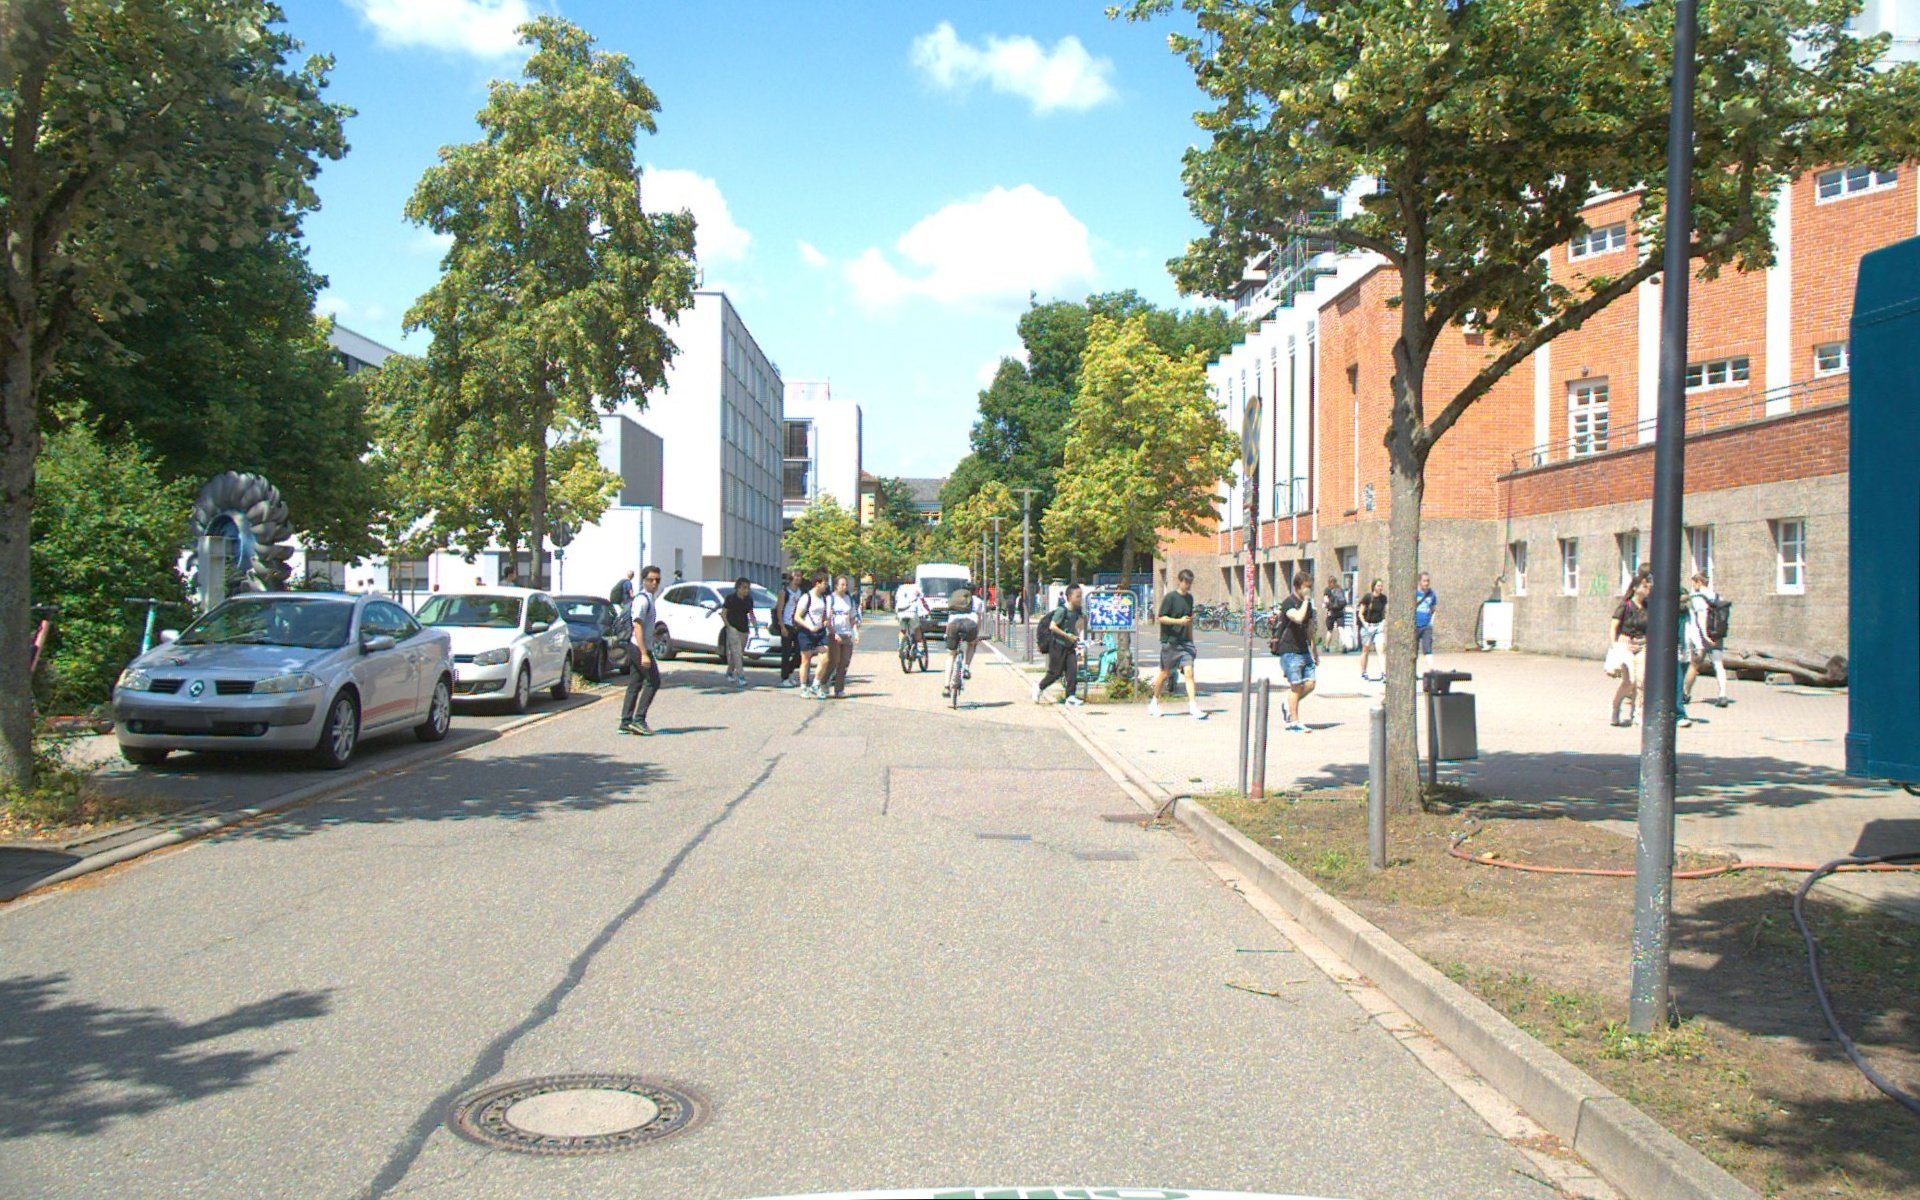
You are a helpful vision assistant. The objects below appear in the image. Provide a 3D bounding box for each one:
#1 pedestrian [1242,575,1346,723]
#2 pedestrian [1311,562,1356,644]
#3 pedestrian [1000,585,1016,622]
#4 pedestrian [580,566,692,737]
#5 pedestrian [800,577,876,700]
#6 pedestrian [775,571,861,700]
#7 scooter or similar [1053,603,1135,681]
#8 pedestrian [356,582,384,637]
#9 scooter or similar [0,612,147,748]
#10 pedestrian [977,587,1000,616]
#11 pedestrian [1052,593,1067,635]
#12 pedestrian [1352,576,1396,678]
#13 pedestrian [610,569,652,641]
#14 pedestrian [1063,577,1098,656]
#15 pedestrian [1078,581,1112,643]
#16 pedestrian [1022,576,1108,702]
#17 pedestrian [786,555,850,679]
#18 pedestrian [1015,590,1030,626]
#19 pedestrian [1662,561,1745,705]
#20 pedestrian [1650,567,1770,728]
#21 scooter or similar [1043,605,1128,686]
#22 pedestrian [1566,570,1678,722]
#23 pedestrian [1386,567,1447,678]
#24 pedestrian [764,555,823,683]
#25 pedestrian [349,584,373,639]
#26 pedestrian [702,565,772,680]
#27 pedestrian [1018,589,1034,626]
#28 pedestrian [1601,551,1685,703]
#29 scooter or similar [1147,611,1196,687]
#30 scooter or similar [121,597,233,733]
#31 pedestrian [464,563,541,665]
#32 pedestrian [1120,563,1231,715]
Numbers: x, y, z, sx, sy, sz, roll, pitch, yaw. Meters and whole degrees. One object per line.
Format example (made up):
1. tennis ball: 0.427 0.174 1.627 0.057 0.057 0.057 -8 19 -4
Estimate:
1. pedestrian: 3.813 0.543 18.884 0.844 1.623 0.817 -2 1 -44
2. pedestrian: 8.796 0.065 38.967 0.774 1.892 1.116 0 0 -2
3. pedestrian: 2.484 0.185 85.346 0.774 1.892 1.243 0 0 0
4. pedestrian: -3.418 0.539 17.526 1.084 1.746 0.709 2 0 -8
5. pedestrian: -1.802 0.548 24.376 0.891 1.769 0.675 0 0 37
6. pedestrian: -2.038 0.493 23.737 0.964 1.769 0.698 3 2 37
7. scooter or similar: 2.272 0.697 28.079 1.237 1.287 0.649 0 0 31
8. pedestrian: -19.555 0.316 54.857 0.679 1.780 0.636 1 0 -1
9. scooter or similar: -8.156 0.709 15.242 0.460 1.192 1.228 0 0 18
10. pedestrian: 2.114 0.111 121.590 1.470 2.031 1.645 -3 1 -3
11. pedestrian: 4.482 0.639 74.531 0.564 1.892 0.569 0 0 -4
12. pedestrian: 6.891 0.440 27.562 0.492 1.659 0.570 -2 0 -10
13. pedestrian: -8.381 0.128 42.158 0.963 1.817 0.668 0 -1 -5
14. pedestrian: 2.709 0.361 37.117 0.688 1.724 0.962 -1 2 -1
15. pedestrian: 3.921 0.349 48.148 0.836 1.763 1.160 0 0 -3
16. pedestrian: 1.499 0.547 23.665 0.698 1.749 0.978 -2 1 -42
17. pedestrian: -2.341 0.266 27.312 0.809 2.014 0.692 1 1 21
18. pedestrian: 3.327 0.411 87.957 0.774 1.892 1.026 0 0 0
19. pedestrian: 9.811 0.418 21.858 0.686 1.835 0.994 -1 1 5
20. pedestrian: 8.479 0.519 18.736 0.858 1.665 0.949 -4 4 -1
21. scooter or similar: 2.076 0.739 27.327 1.237 1.287 0.649 0 0 31
22. pedestrian: 7.524 0.500 18.845 0.858 1.666 0.948 -1 1 -2
23. pedestrian: 7.674 0.363 27.797 0.695 1.819 0.751 -2 0 -10
24. pedestrian: -2.666 0.303 26.431 0.610 2.015 0.819 0 -1 -32
25. pedestrian: -19.614 0.387 54.168 0.540 1.795 0.586 1 0 -1
26. pedestrian: -3.607 0.348 26.732 0.785 1.803 0.854 1 1 21
27. pedestrian: 3.381 0.377 85.113 0.774 1.892 1.026 0 0 0
28. pedestrian: 8.955 0.337 21.717 0.686 1.924 0.994 -2 1 4
29. scooter or similar: 3.407 0.775 26.554 0.635 1.180 1.266 0 0 14
30. scooter or similar: -8.061 0.645 17.065 0.514 1.310 1.229 -3 1 -1
31. pedestrian: -9.052 0.274 32.713 1.007 1.937 1.163 5 -3 -37
32. pedestrian: 2.758 0.493 21.237 0.847 1.892 1.099 0 -1 -41
